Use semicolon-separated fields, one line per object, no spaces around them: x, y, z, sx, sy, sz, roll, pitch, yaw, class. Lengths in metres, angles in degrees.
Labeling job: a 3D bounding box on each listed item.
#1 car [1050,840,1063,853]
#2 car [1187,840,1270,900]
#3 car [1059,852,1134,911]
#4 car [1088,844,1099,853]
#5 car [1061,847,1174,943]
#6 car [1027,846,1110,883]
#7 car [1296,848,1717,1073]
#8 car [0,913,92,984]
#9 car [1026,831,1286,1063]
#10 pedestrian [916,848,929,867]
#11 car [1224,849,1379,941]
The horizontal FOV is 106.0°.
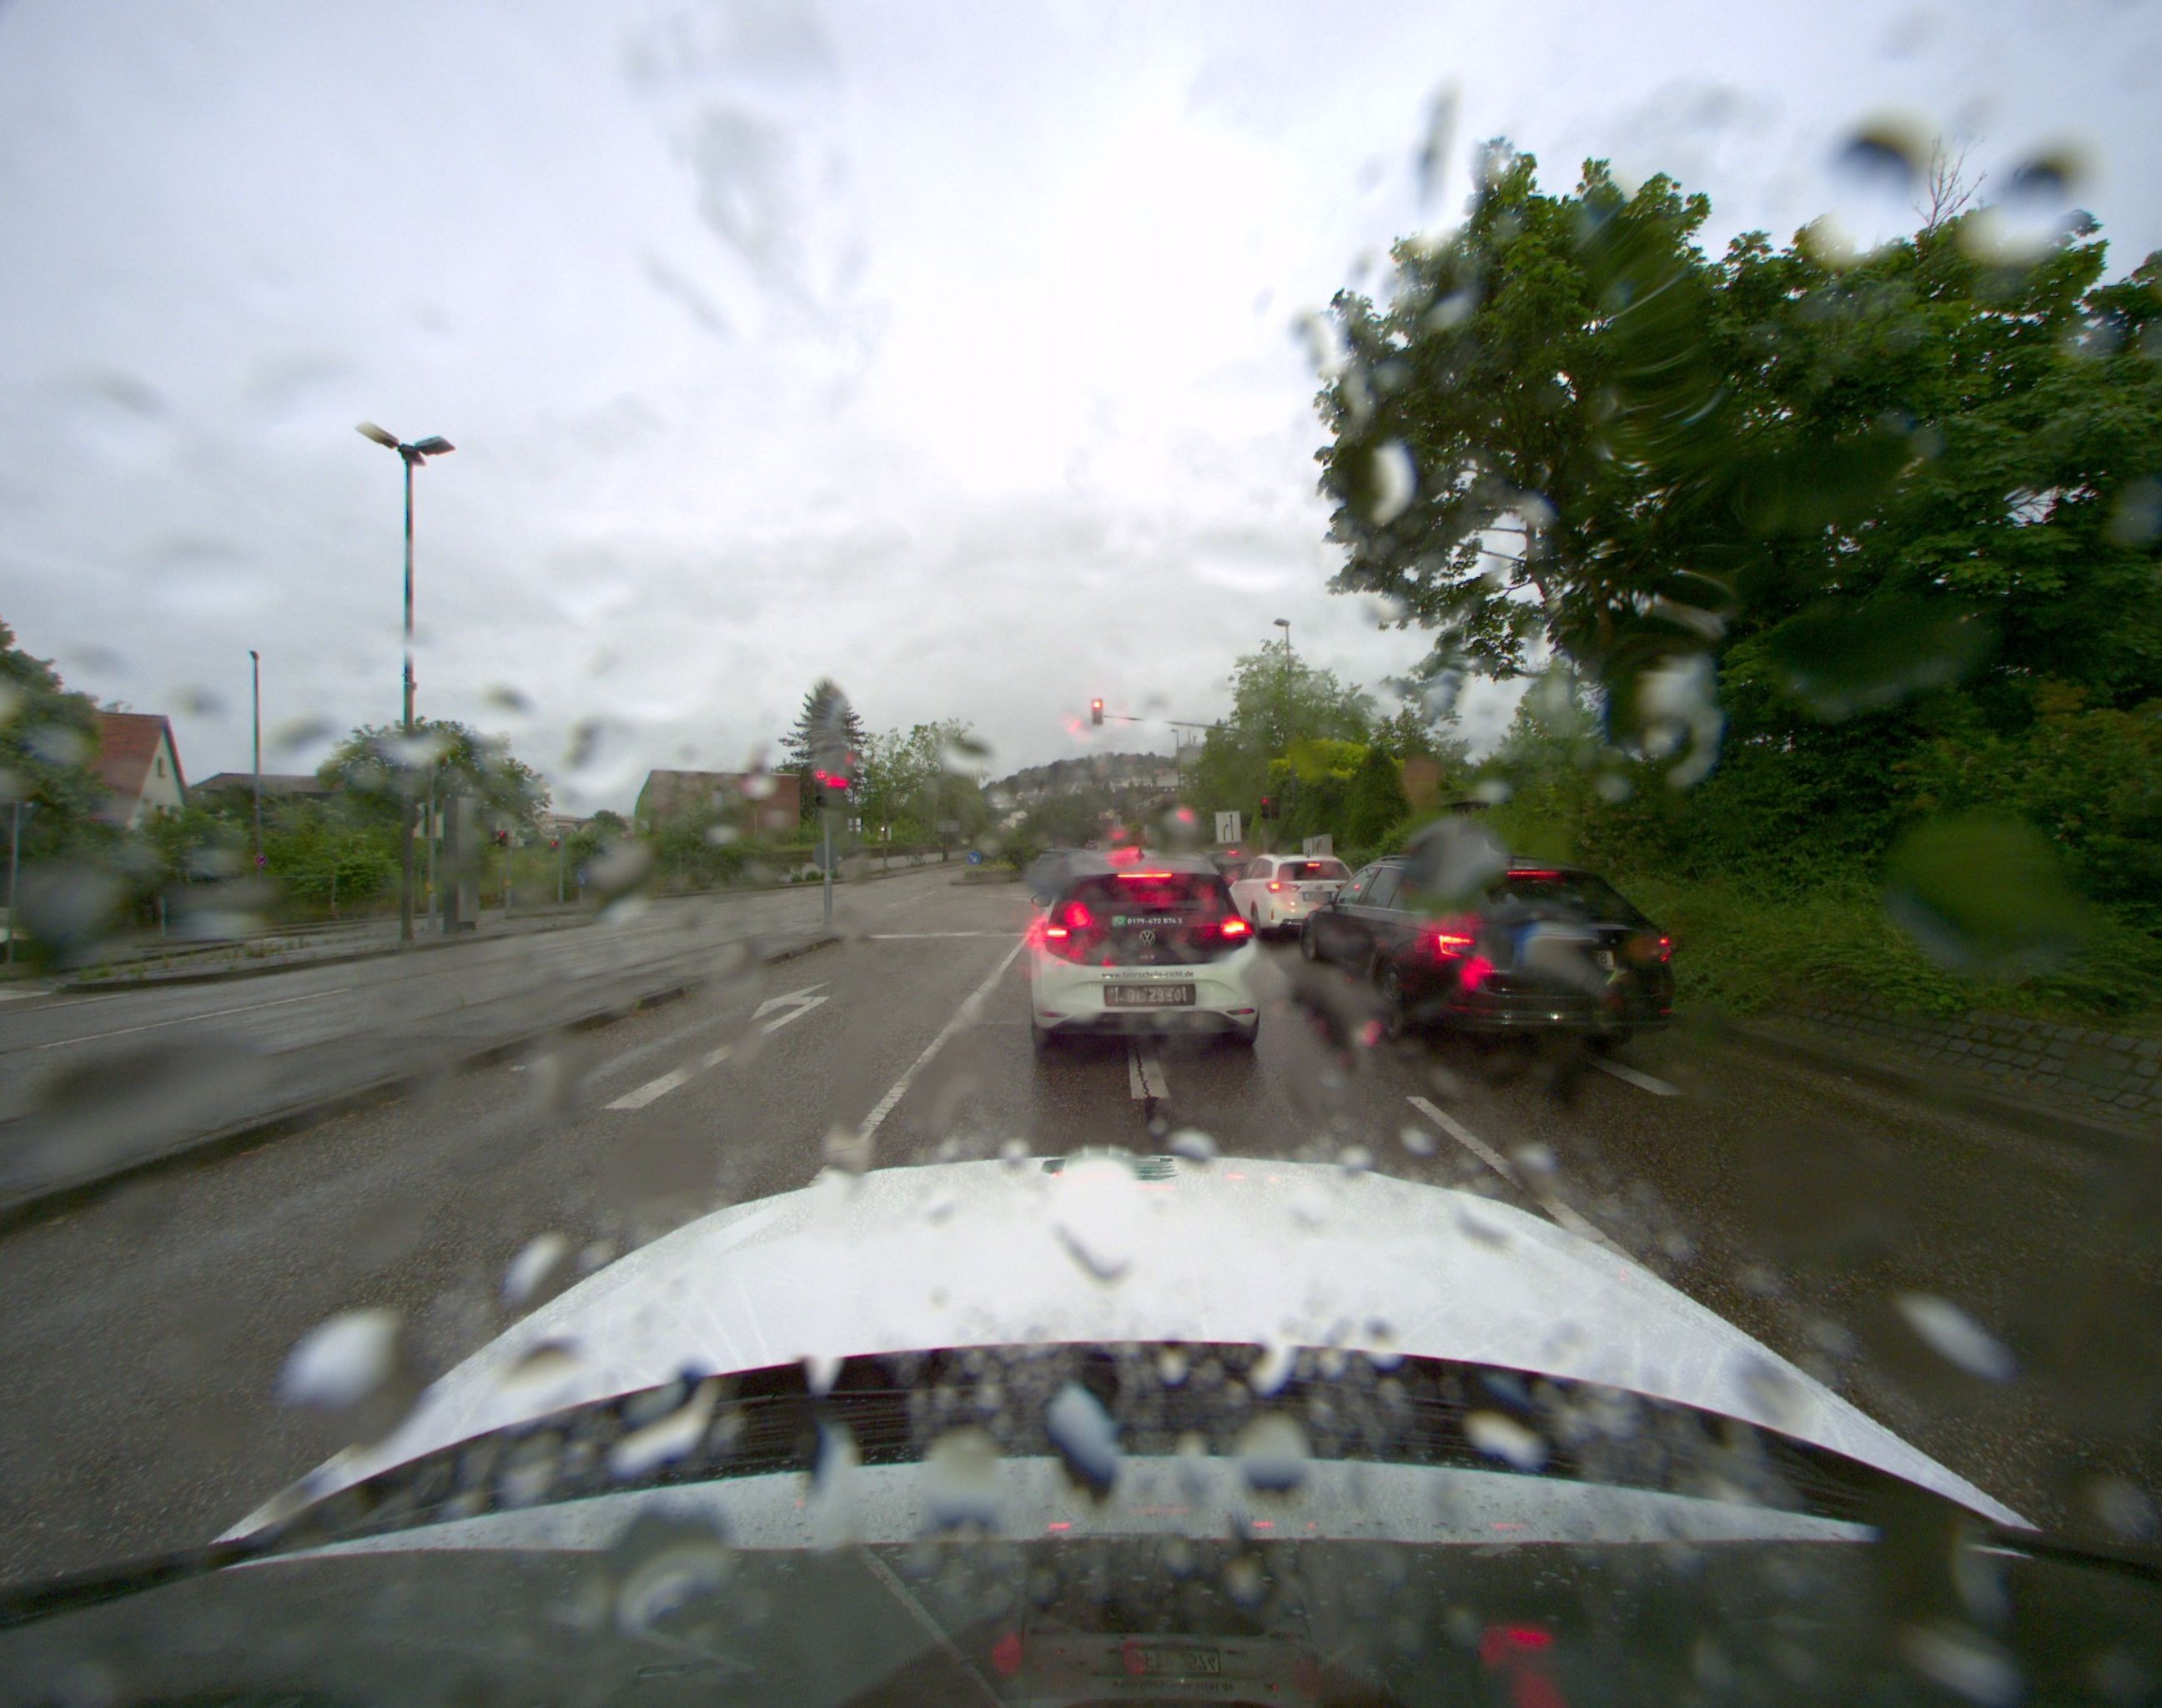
-4.162;-1.284;140.542;1.986;2.014;4.002;-1;-1;2;car
4.131;0.433;23.364;1.769;1.581;4.002;0;0;2;car
0.430;0.664;21.761;1.831;1.400;3.832;0;0;1;car
2.251;-0.943;141.337;1.769;1.581;4.002;-3;0;2;car
0.638;0.648;15.298;1.831;1.555;4.176;0;0;1;car
-0.493;0.440;35.970;1.744;1.418;3.773;-2;1;35;car
3.360;0.677;7.521;1.830;1.466;4.353;0;0;3;car
-25.637;2.230;18.286;4.011;1.467;1.571;-2;-1;-29;car
0.578;0.637;8.042;1.831;1.629;4.617;0;0;1;car
-13.069;0.295;67.103;0.757;1.568;0.825;-4;0;1;pedestrian
3.864;0.636;15.006;1.831;1.466;4.118;0;0;1;car
